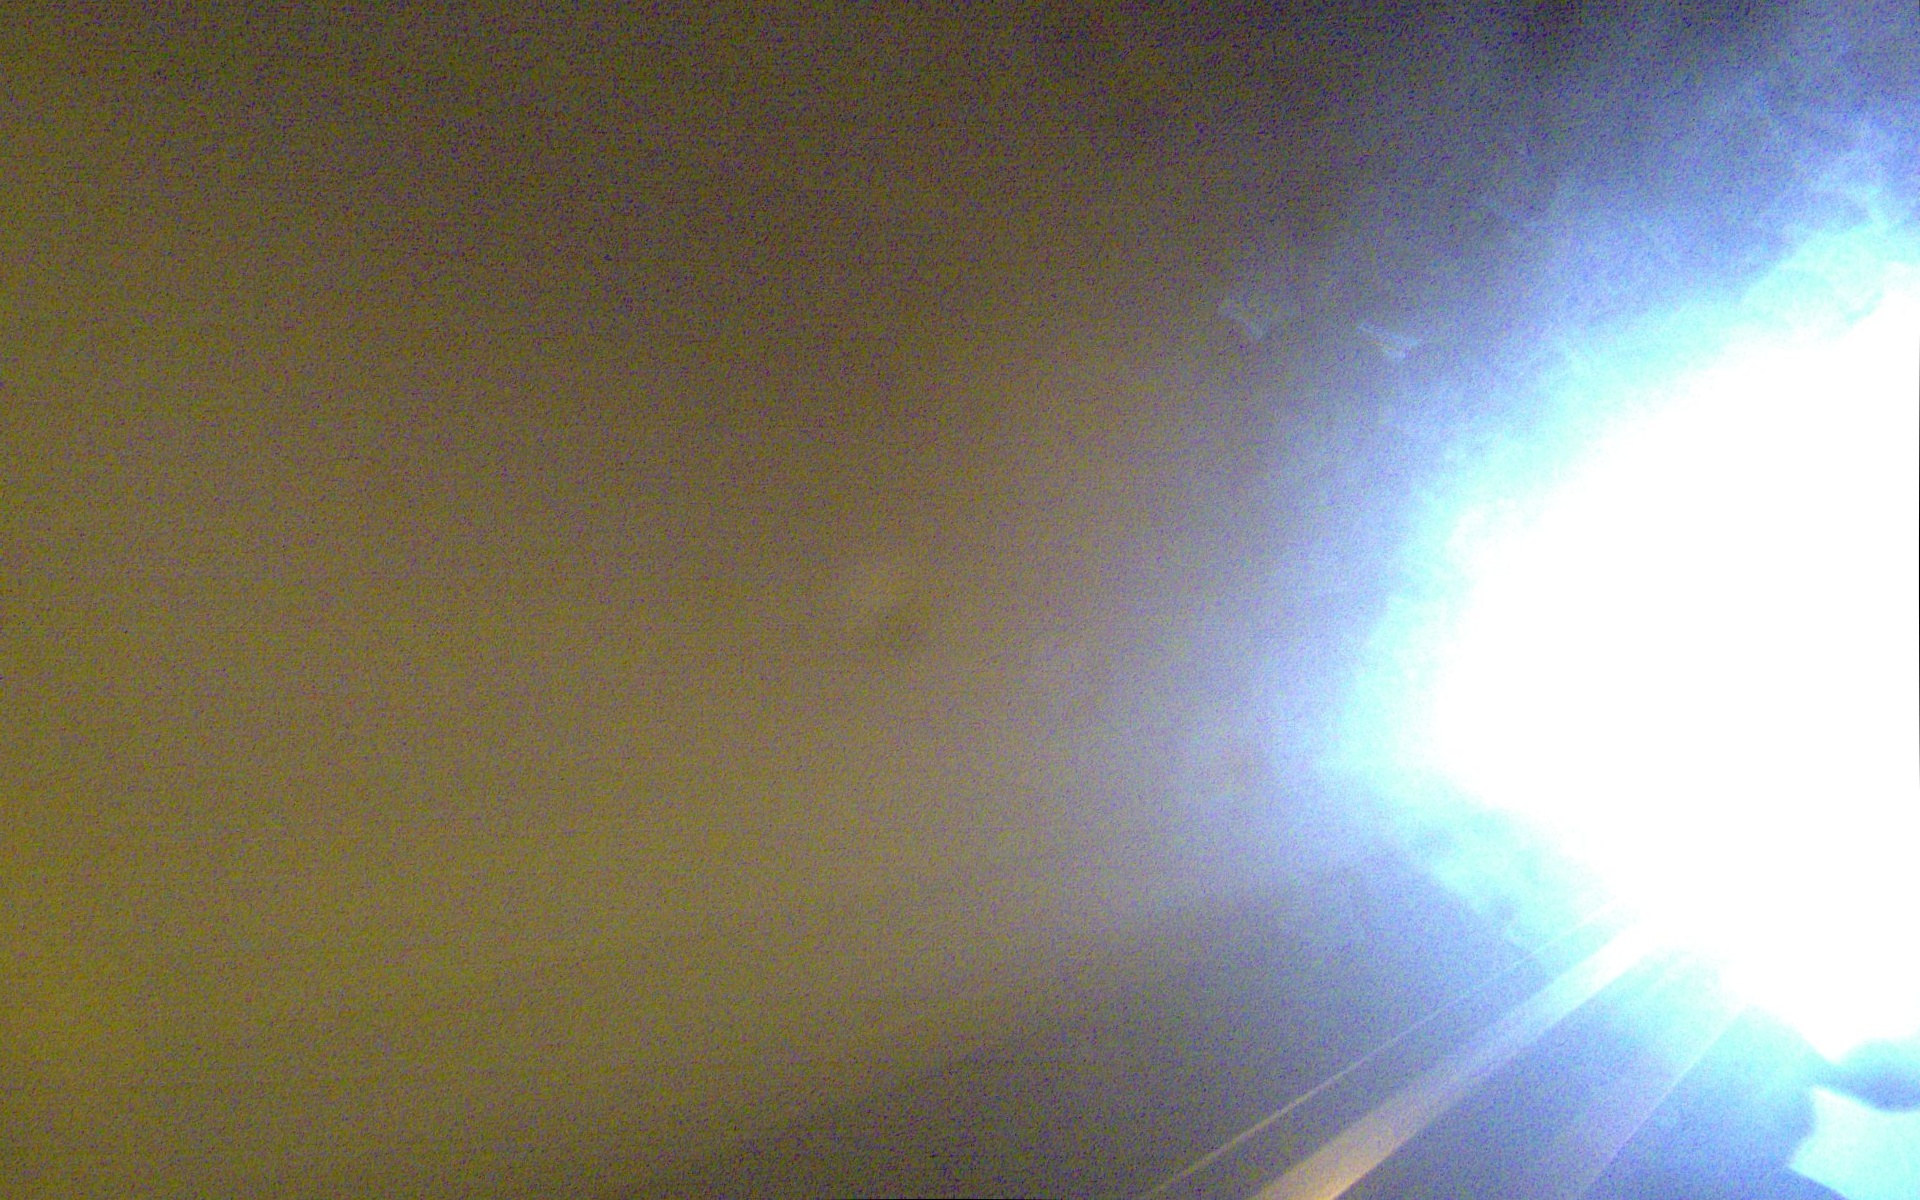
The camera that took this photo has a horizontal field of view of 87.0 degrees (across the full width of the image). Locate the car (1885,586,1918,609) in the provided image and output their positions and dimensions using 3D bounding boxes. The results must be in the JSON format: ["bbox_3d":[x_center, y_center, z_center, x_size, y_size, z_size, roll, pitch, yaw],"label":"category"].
[{"bbox_3d":[76.775,-0.257,82.584,1.702,1.794,3.943,1,2,39],"label":"car"}]
